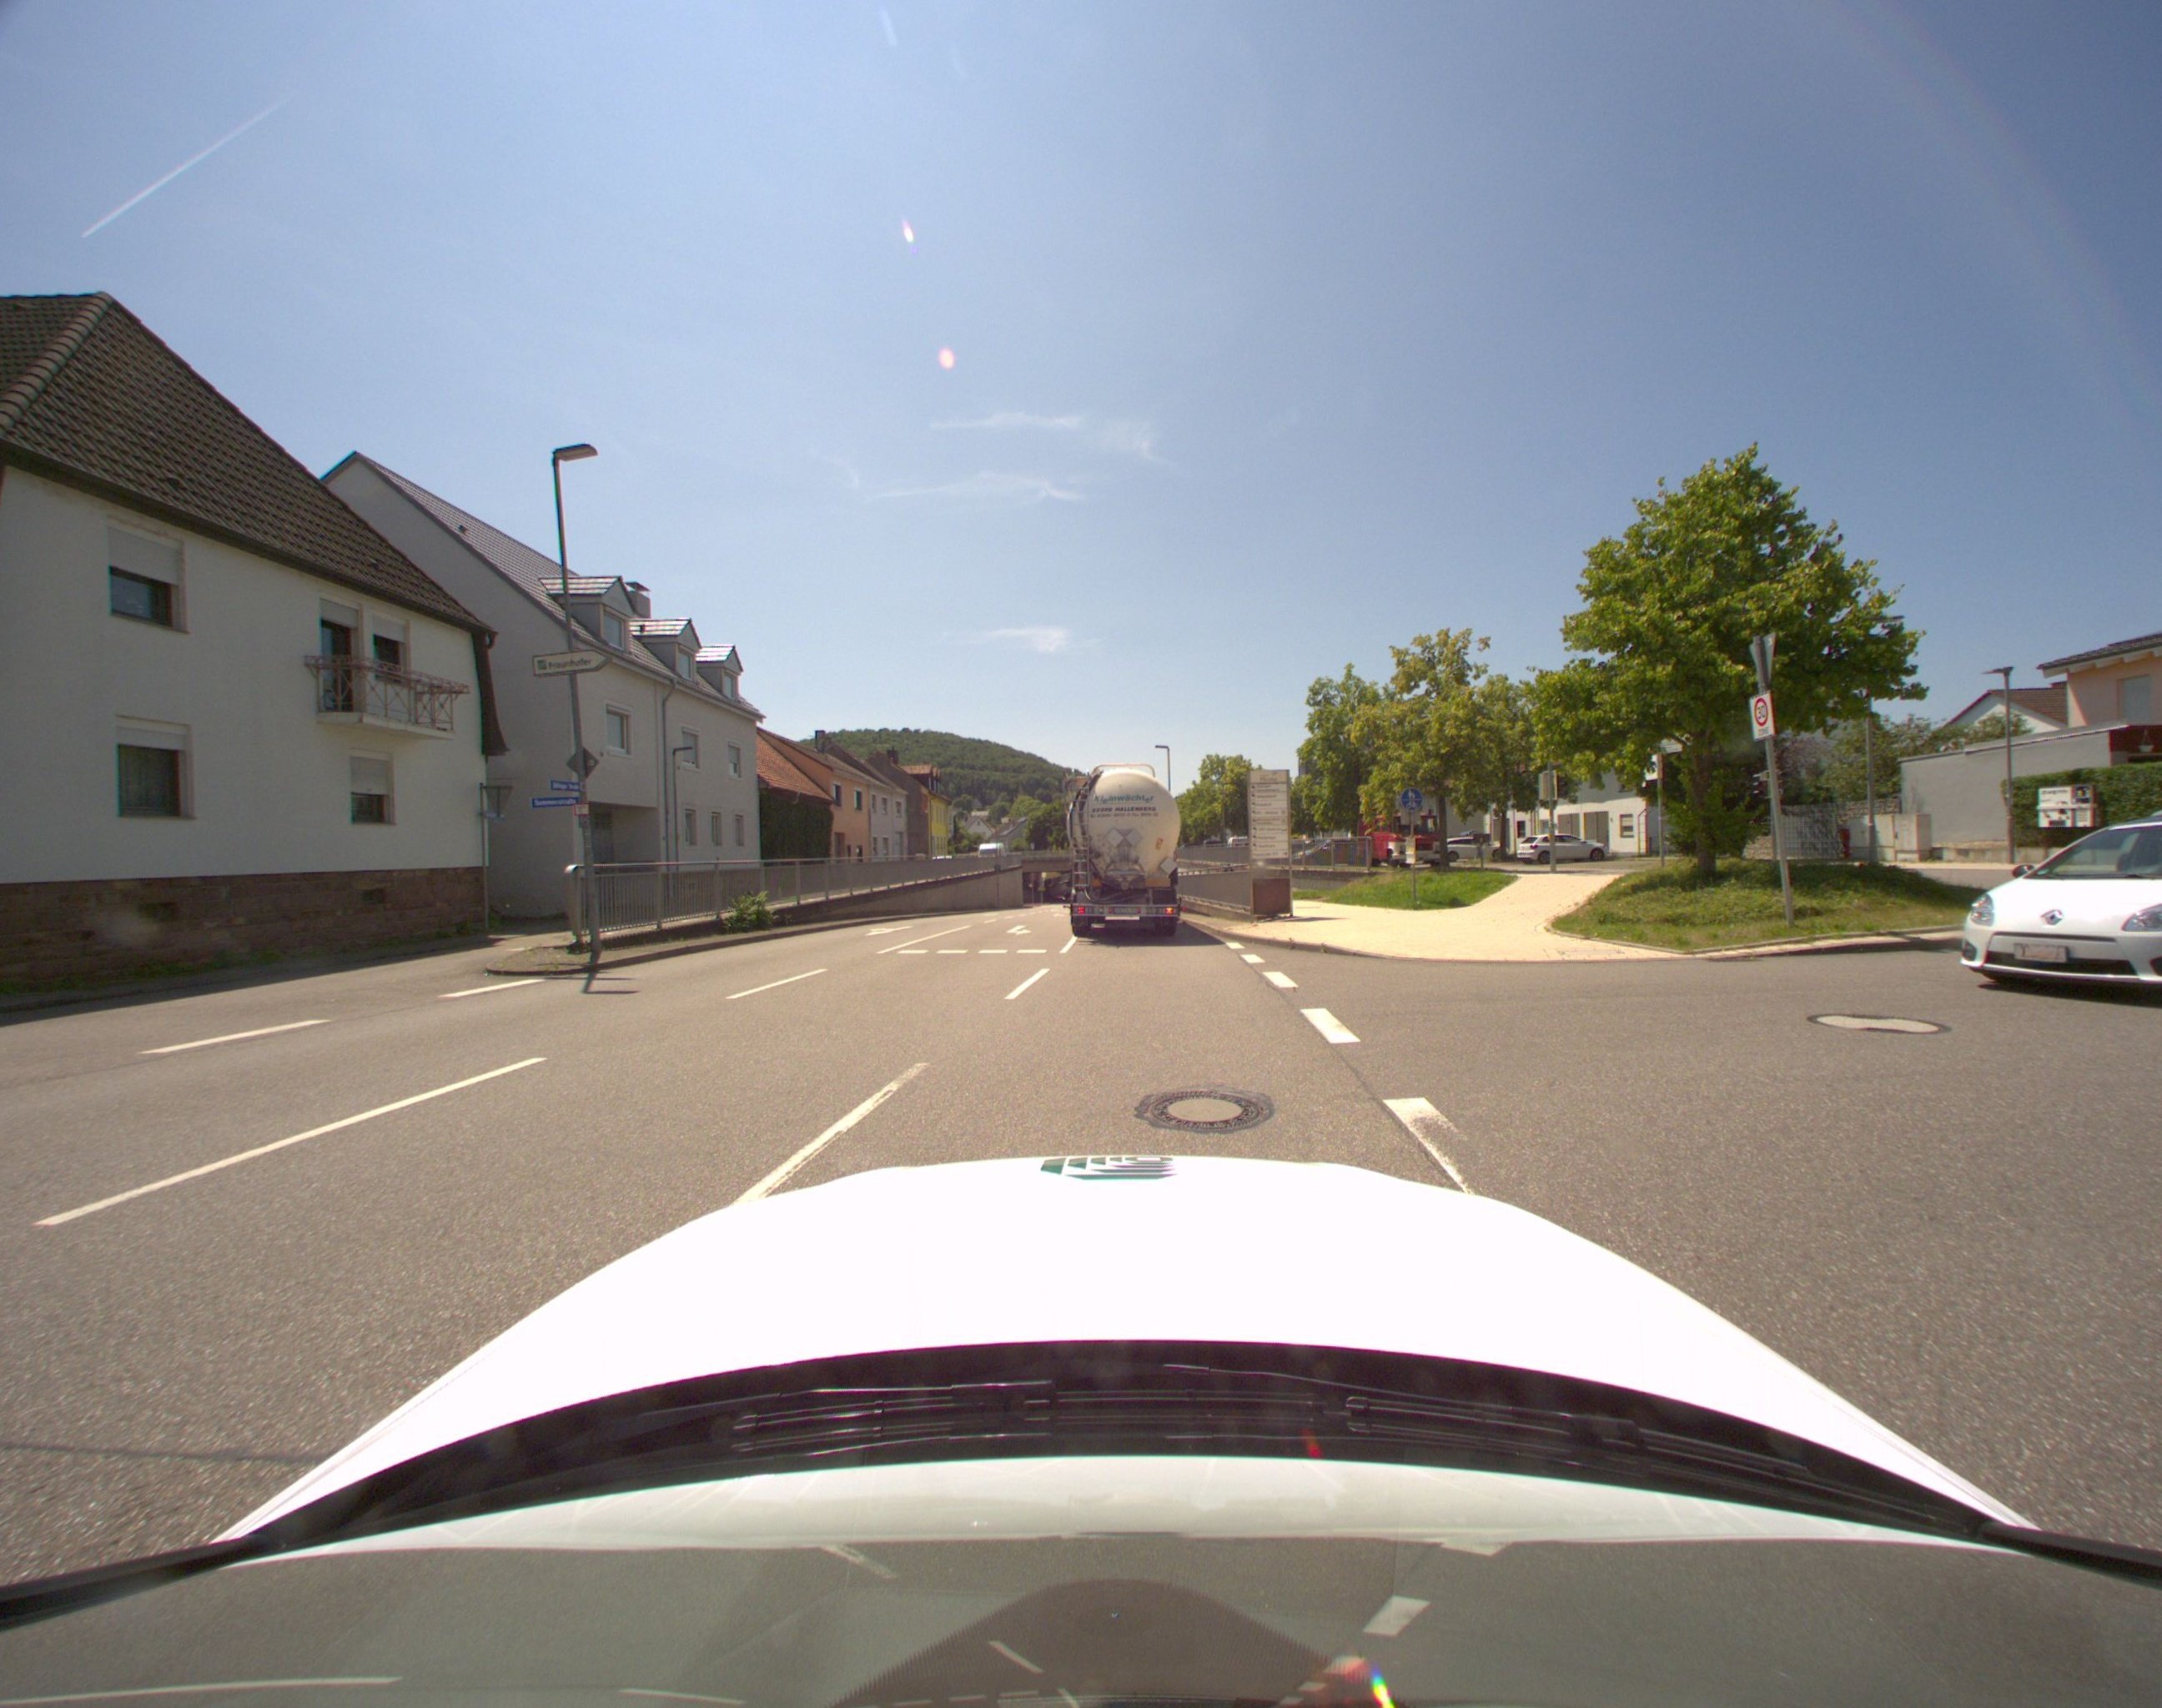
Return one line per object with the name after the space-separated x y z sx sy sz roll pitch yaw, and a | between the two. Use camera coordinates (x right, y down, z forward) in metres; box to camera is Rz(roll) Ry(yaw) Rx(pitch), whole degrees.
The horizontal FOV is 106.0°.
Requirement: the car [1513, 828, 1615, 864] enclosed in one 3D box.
23.683 -0.373 40.053 3.923 1.478 1.758 -3 -1 1 | car

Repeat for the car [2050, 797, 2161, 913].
15.390 -0.037 10.682 1.754 1.535 4.150 -5 -1 24 | car

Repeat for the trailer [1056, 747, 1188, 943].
1.233 0.049 23.647 2.723 4.065 13.321 -1 -2 3 | trailer

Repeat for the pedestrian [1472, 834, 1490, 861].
23.319 -0.365 47.434 0.745 1.511 0.607 -4 0 -39 | pedestrian

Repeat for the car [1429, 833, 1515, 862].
24.130 -0.389 50.351 4.390 1.490 1.758 -3 -1 1 | car

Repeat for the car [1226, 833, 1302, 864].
13.198 -0.366 58.910 5.092 2.063 1.990 -2 0 2 | car

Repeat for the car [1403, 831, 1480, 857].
24.451 -0.663 55.382 4.390 1.490 1.758 -3 -1 1 | car

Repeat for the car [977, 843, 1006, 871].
-8.385 0.295 76.772 2.058 2.536 5.662 0 0 1 | car

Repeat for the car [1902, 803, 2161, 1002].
9.690 0.303 7.100 3.671 1.479 1.769 -3 -2 -11 | car

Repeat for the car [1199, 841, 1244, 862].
13.071 -0.236 75.879 3.890 1.885 1.687 -2 0 2 | car

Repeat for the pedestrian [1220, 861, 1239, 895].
8.125 1.324 44.504 0.833 1.782 0.788 -2 -3 1 | pedestrian

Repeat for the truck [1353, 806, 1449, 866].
13.719 -0.714 35.320 2.125 2.334 5.260 -1 0 1 | truck

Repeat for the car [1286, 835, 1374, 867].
12.702 -0.155 41.697 3.971 1.498 1.749 -2 0 2 | car

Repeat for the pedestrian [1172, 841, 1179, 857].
10.741 -0.549 92.603 0.670 1.779 0.594 -2 -1 3 | pedestrian
